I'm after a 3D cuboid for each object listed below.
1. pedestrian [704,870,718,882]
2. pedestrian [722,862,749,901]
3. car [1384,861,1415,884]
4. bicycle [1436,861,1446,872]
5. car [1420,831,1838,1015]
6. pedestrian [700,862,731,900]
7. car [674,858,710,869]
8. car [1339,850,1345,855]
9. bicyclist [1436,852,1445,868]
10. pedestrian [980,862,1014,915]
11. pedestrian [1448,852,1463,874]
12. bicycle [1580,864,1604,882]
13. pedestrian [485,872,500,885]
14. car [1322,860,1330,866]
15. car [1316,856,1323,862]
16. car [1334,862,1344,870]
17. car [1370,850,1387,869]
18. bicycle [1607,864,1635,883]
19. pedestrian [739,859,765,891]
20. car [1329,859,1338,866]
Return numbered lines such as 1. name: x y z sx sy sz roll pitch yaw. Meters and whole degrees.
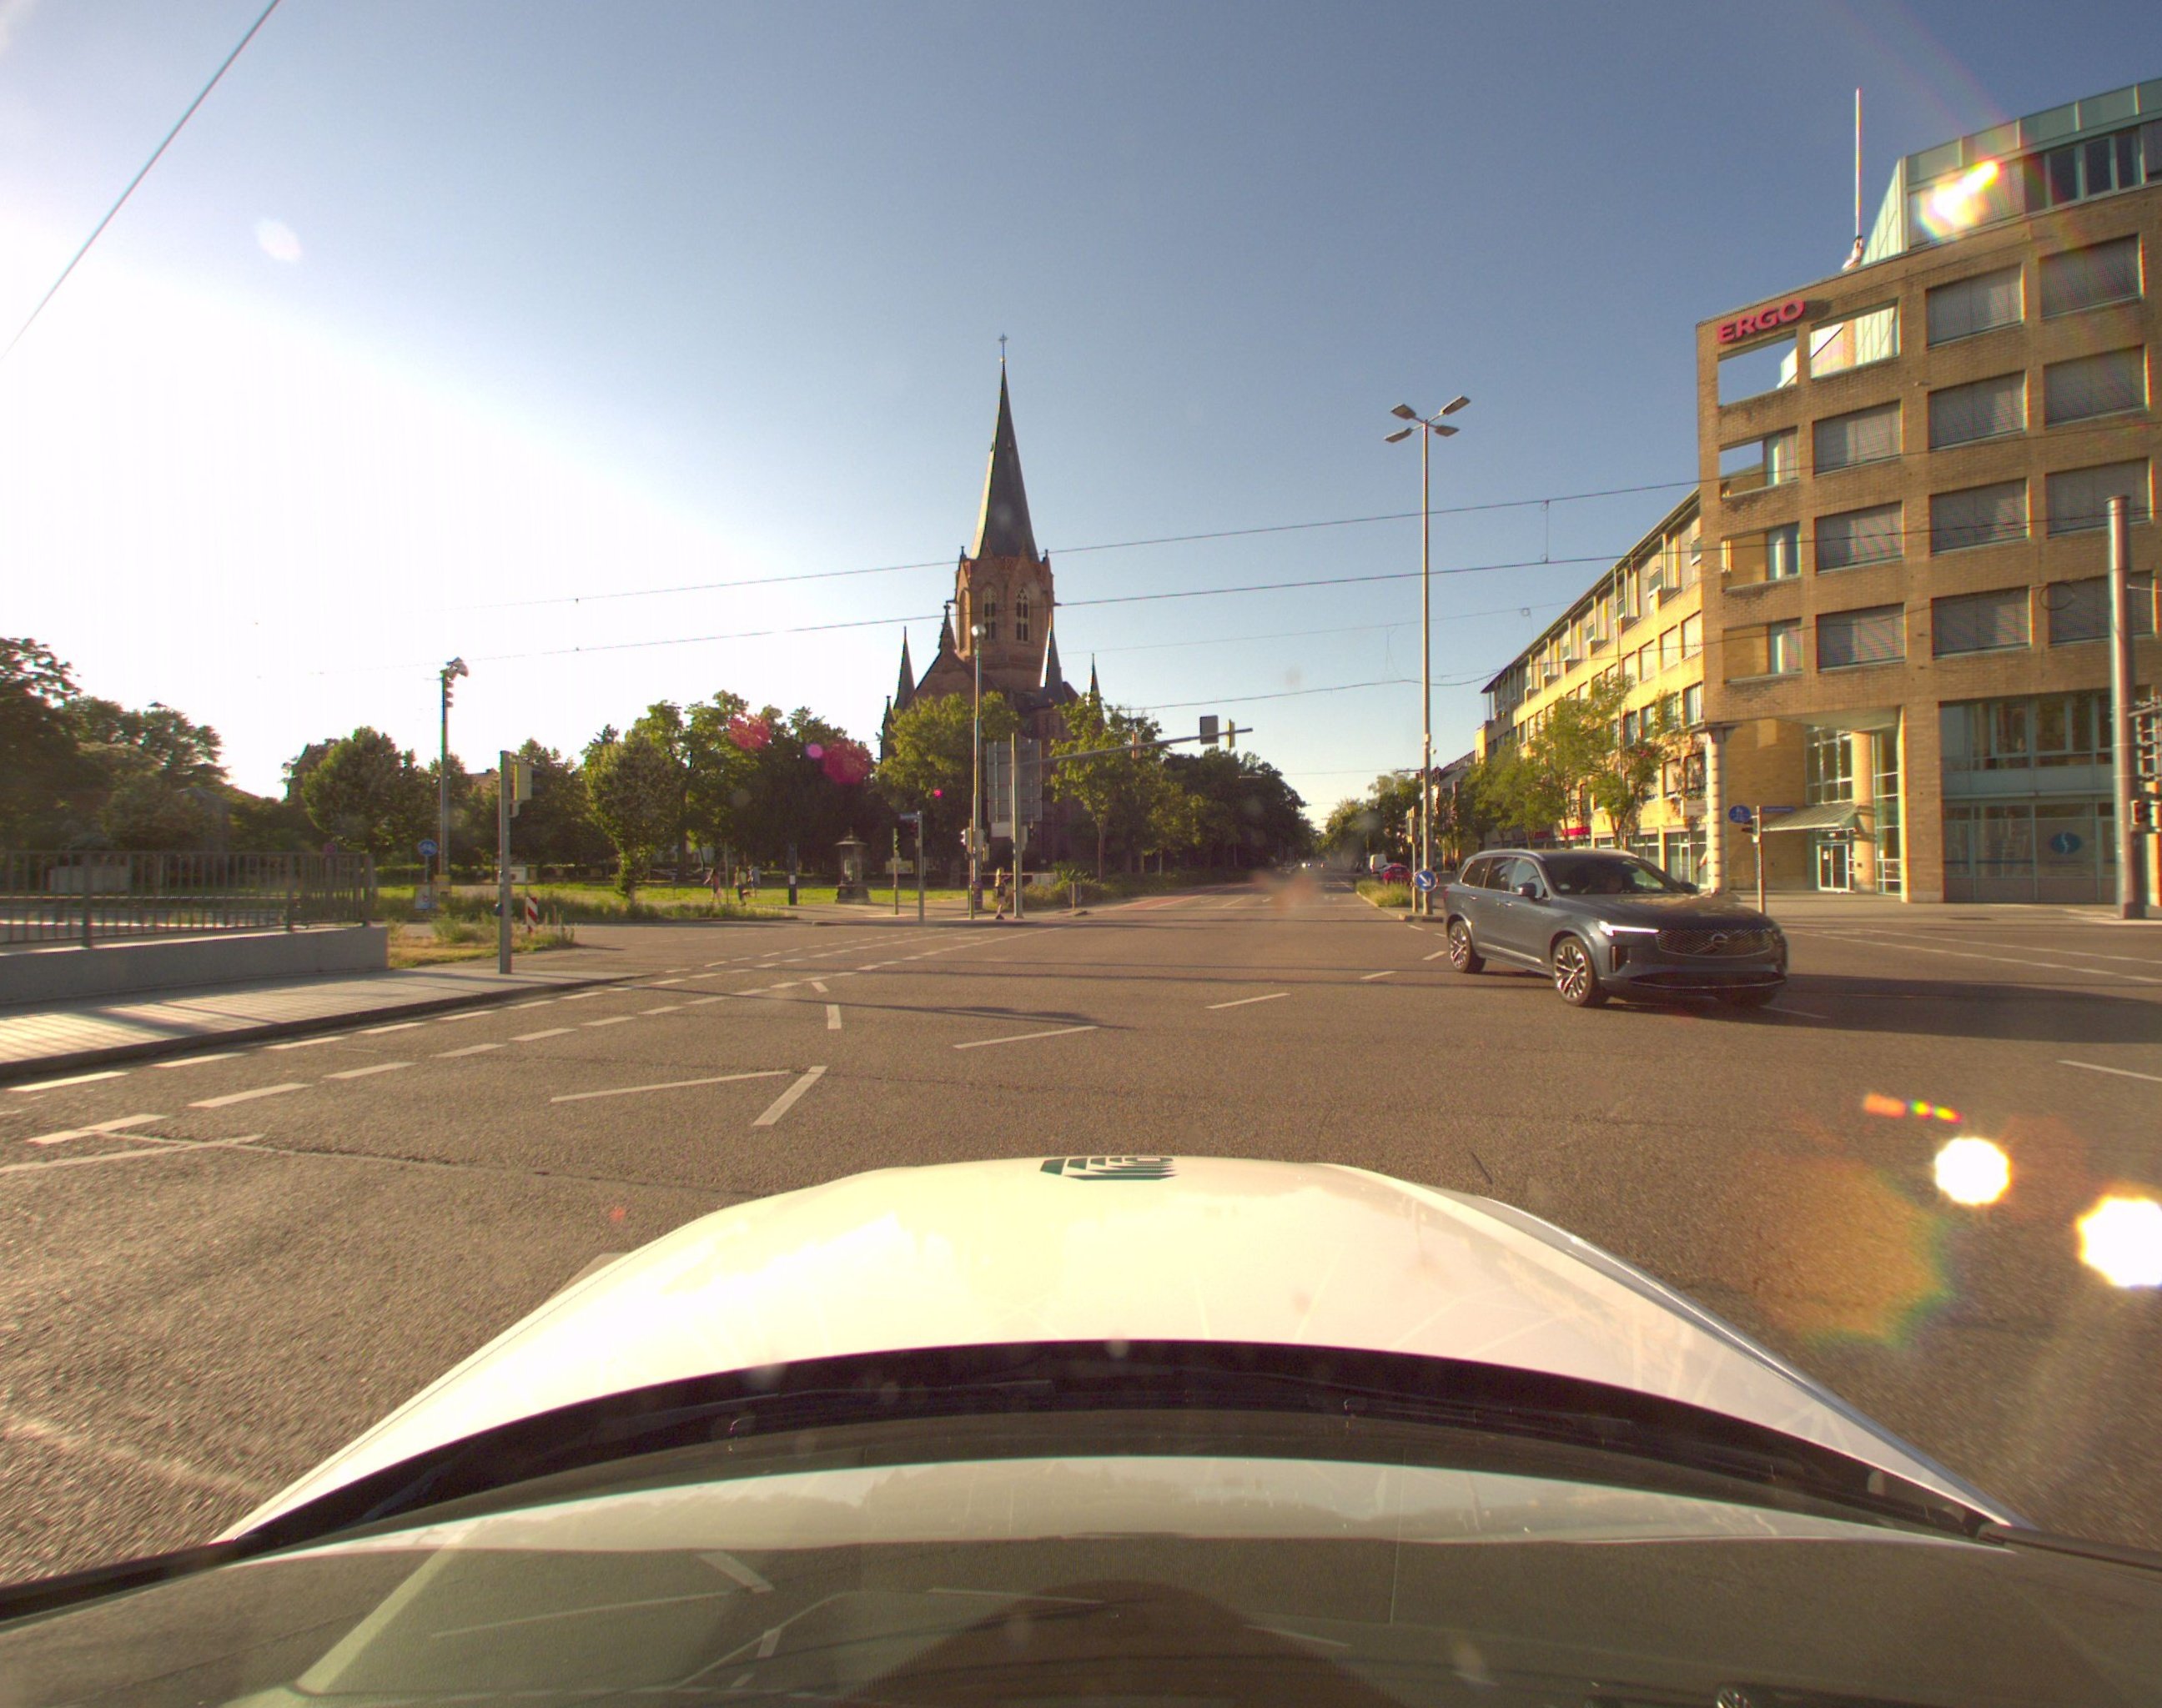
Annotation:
1. pedestrian: -31.931 1.909 70.299 0.800 0.953 1.172 0 0 -5
2. pedestrian: -15.269 1.193 36.021 0.884 1.696 0.715 0 0 36
3. car: 22.264 1.260 57.034 1.657 1.462 4.017 0 0 16
4. bicycle: 32.261 1.138 73.069 0.587 0.943 1.987 1 1 17
5. car: 6.252 0.711 10.271 1.986 1.724 5.033 -1 -1 2
6. pedestrian: -16.628 1.205 37.019 1.004 1.696 0.850 0 0 31
7. car: -59.726 1.428 125.072 4.429 1.571 2.003 -1 -1 5
8. car: 69.064 -0.508 215.662 1.582 1.267 3.280 -1 0 17
9. bicyclist: 32.262 0.527 73.049 0.587 1.369 0.934 1 1 16
10. pedestrian: -2.828 1.145 27.602 0.803 1.739 0.972 -1 -1 17
11. pedestrian: 34.527 0.842 75.151 1.099 1.976 1.166 -1 -1 16
12. bicycle: 30.583 1.127 48.787 0.641 0.994 2.089 -1 -1 16
13. pedestrian: -55.137 2.327 76.311 0.836 1.187 0.816 -1 -1 15
14. car: 52.620 1.983 174.873 1.582 1.267 3.280 -1 0 17
15. car: 62.395 1.323 213.137 1.872 1.671 4.017 0 0 17
16. car: 44.453 2.067 140.141 1.582 1.267 3.280 -1 0 17
17. car: 39.621 0.700 108.557 1.978 2.440 4.017 0 0 17
18. bicycle: 29.272 1.047 44.209 0.641 0.994 2.089 -1 -1 16
19. pedestrian: -17.760 1.111 44.006 1.010 1.696 0.844 0 0 -1
20. car: 48.399 1.603 156.397 1.582 1.267 3.280 -1 0 17
